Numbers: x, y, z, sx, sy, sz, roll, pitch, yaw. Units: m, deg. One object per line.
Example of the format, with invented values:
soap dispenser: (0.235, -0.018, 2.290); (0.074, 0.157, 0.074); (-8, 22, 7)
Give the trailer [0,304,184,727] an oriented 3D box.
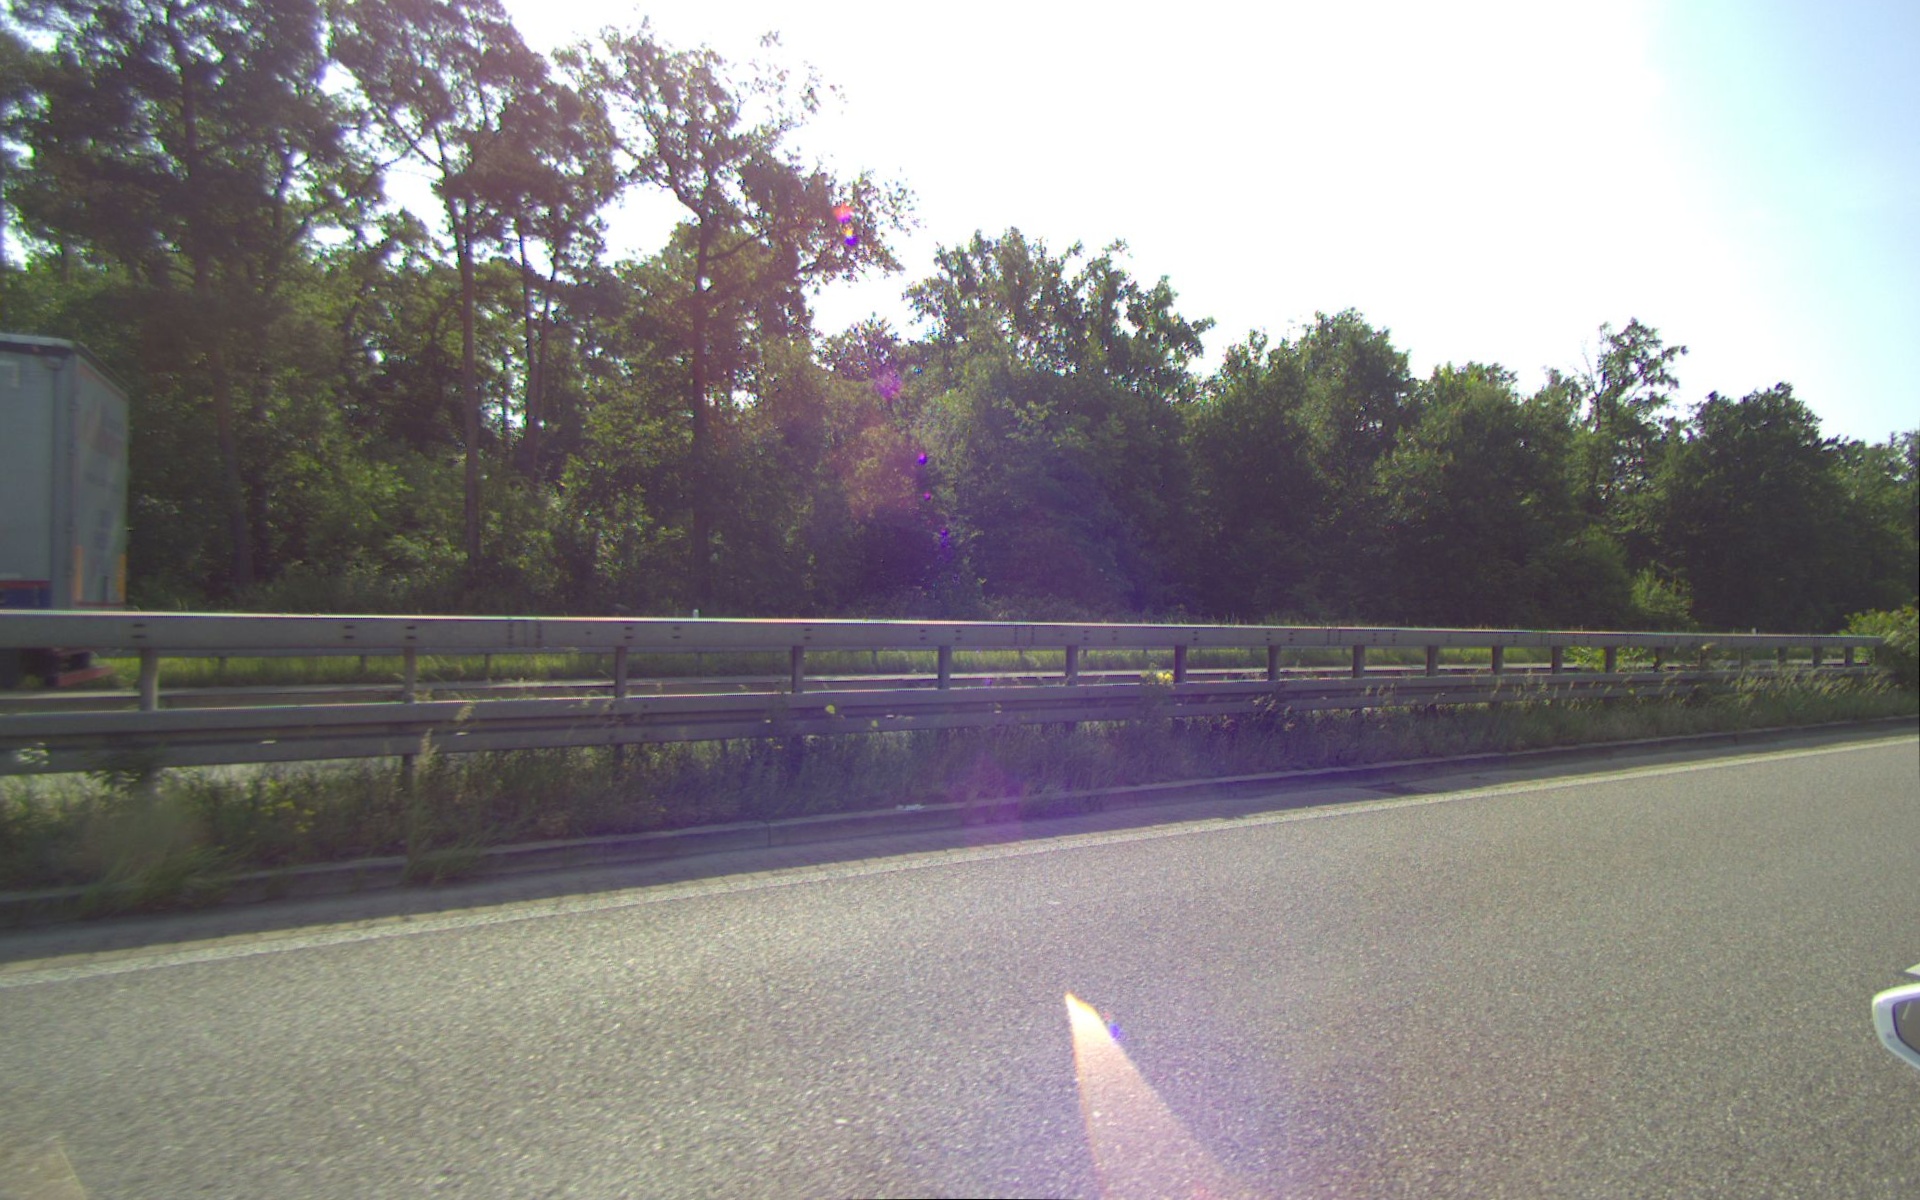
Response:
trailer: (-14.704, -0.945, 8.703); (12.269, 4.264, 2.818); (1, -1, -31)
